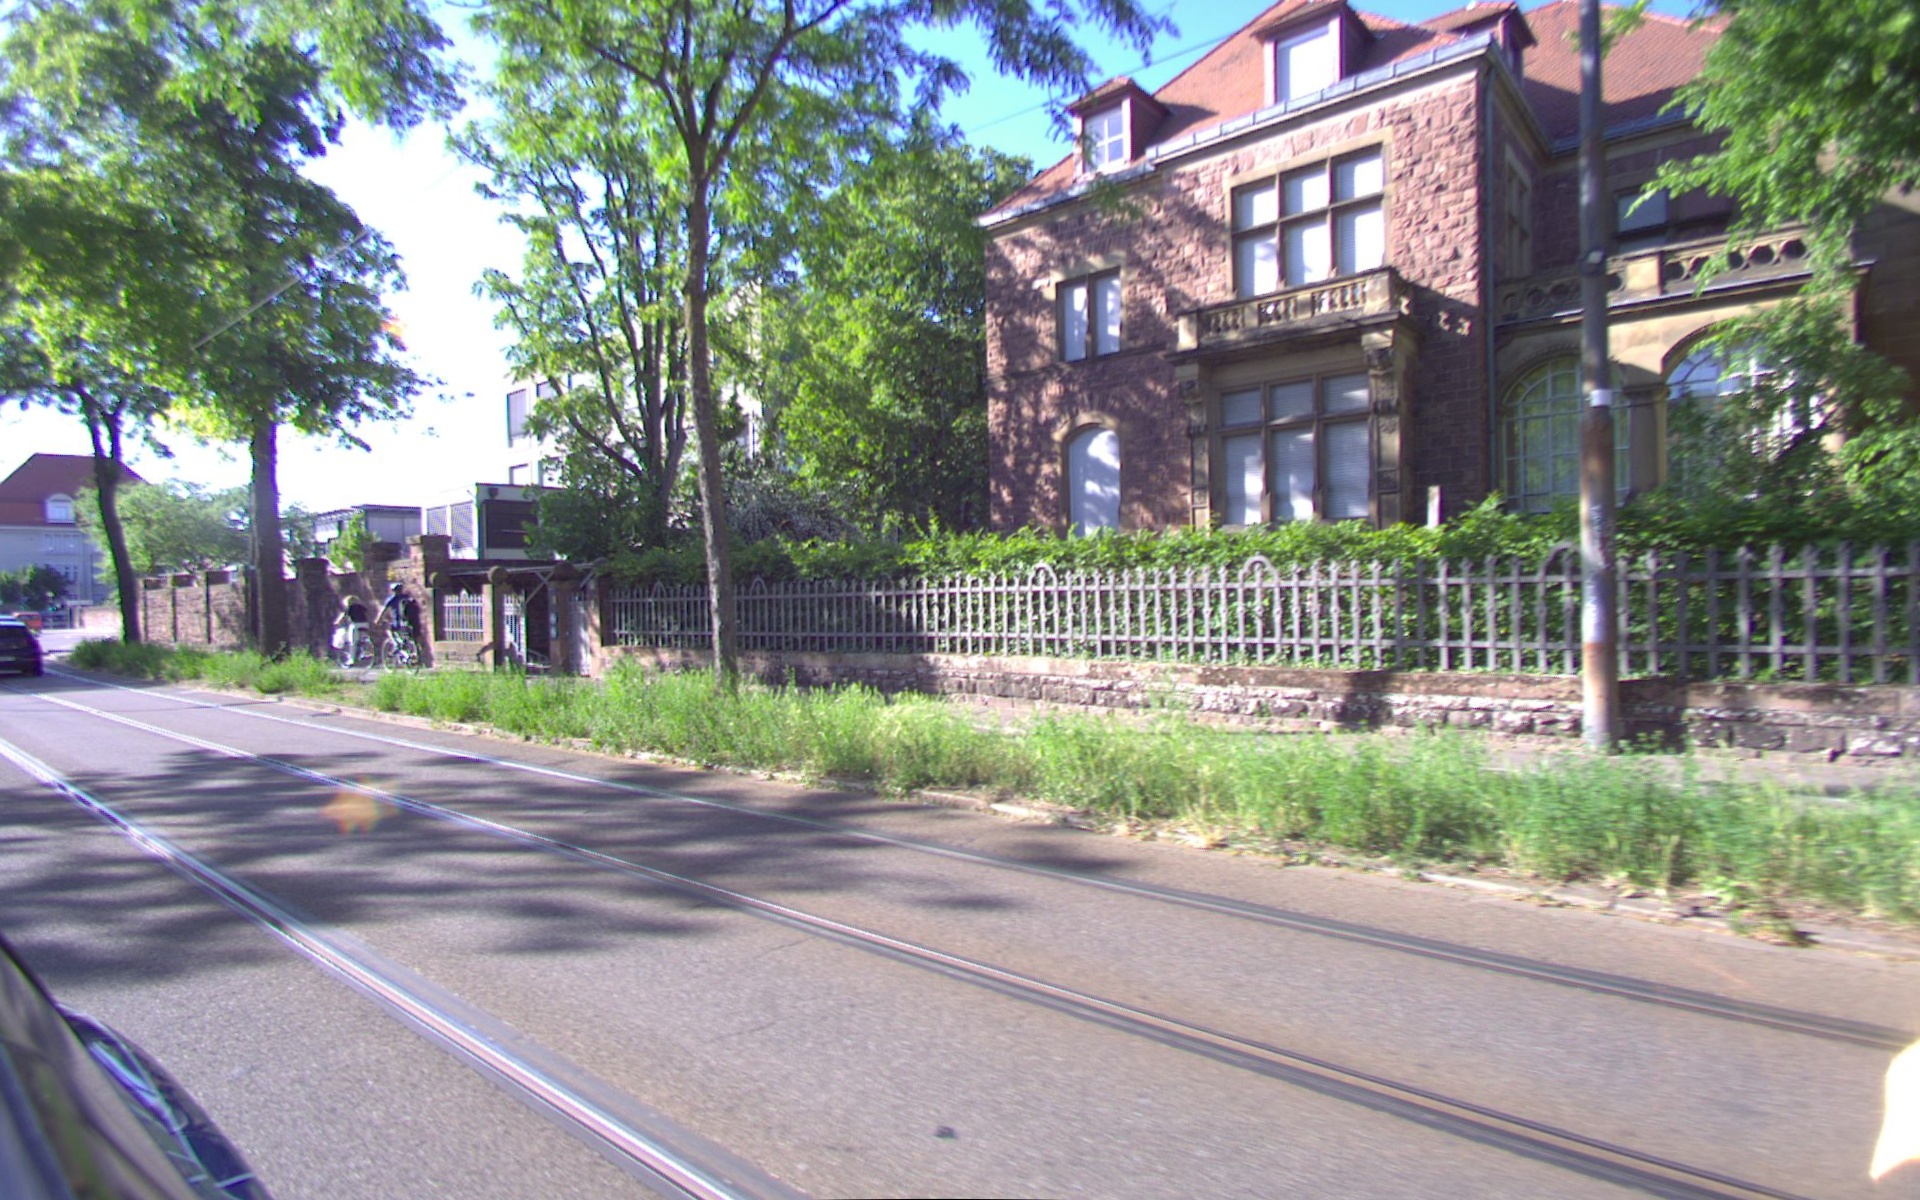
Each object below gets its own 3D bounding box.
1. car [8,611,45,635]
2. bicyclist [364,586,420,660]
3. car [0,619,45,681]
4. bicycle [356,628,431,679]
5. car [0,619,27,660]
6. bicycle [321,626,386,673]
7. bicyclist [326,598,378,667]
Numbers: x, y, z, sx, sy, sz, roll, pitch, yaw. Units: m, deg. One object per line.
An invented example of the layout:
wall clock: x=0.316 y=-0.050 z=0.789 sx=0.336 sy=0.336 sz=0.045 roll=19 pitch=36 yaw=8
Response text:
car: x=-83.155 y=2.043 z=90.120 sx=4.932 sy=1.980 sz=1.972 roll=-1 pitch=0 yaw=42
bicyclist: x=-11.725 y=0.462 z=20.888 sx=1.041 sy=1.481 sz=0.701 roll=-1 pitch=0 yaw=42
car: x=-25.654 y=1.299 z=26.717 sx=4.067 sy=1.535 sz=1.730 roll=-1 pitch=1 yaw=41
bicycle: x=-11.717 y=1.082 z=20.891 sx=2.094 sy=0.967 sz=0.703 roll=-1 pitch=0 yaw=42
car: x=-37.850 y=1.538 z=39.431 sx=4.033 sy=1.535 sz=1.730 roll=-1 pitch=1 yaw=41
bicycle: x=-13.931 y=1.114 z=23.215 sx=1.888 sy=0.981 sz=0.710 roll=0 pitch=2 yaw=41
bicyclist: x=-13.947 y=0.721 z=23.207 sx=0.956 sy=1.510 sz=0.702 roll=0 pitch=2 yaw=41
